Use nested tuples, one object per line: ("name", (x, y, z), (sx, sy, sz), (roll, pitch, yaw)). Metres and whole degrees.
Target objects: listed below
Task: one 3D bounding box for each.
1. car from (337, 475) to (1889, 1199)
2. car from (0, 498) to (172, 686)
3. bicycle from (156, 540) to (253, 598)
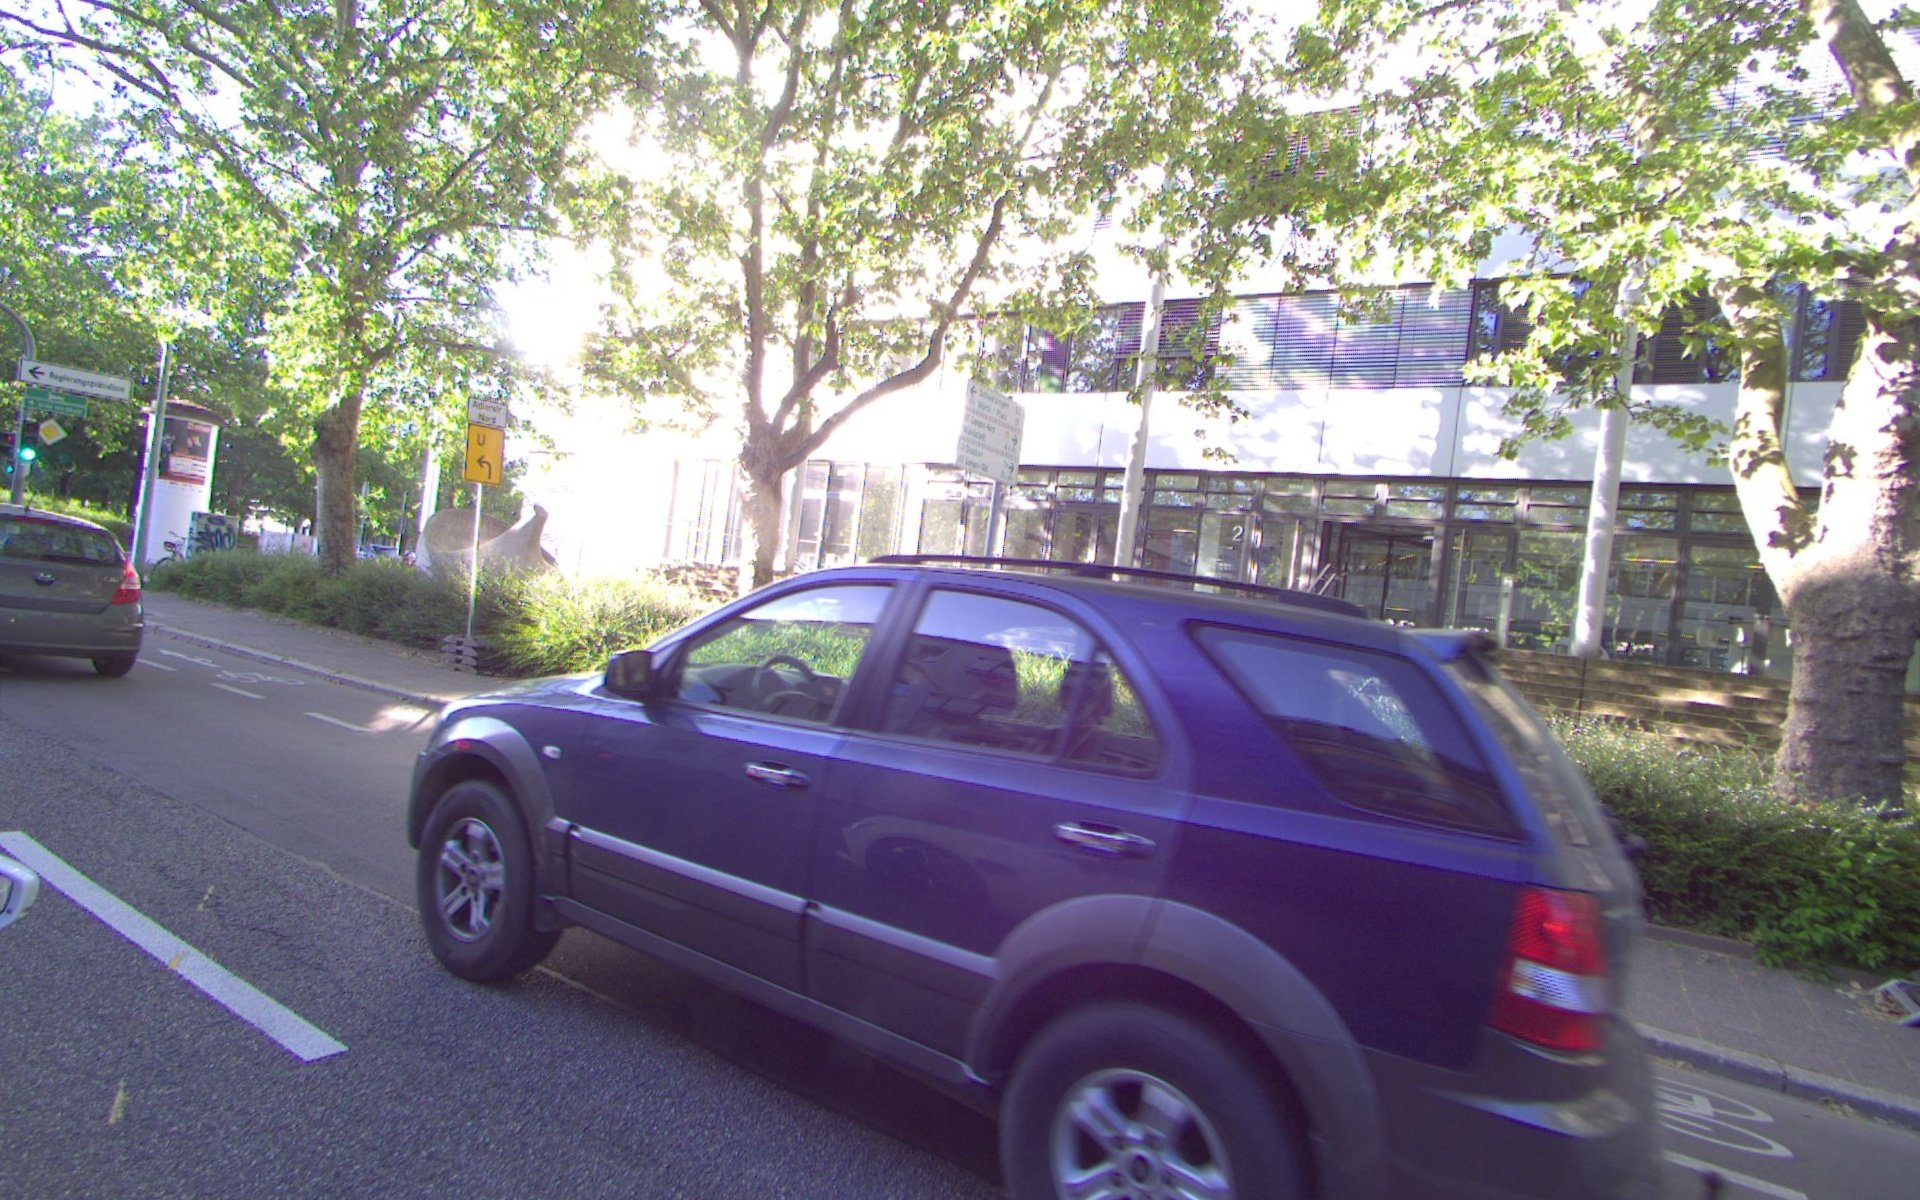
("car", (0.004, 0.700, 3.581), (4.407, 1.784, 1.865), (7, -1, 32))
("car", (-9.521, -0.242, 9.660), (3.934, 1.537, 1.708), (7, -1, 32))
("bicycle", (-15.903, -0.635, 21.241), (0.631, 1.040, 1.887), (7, -2, -5))
